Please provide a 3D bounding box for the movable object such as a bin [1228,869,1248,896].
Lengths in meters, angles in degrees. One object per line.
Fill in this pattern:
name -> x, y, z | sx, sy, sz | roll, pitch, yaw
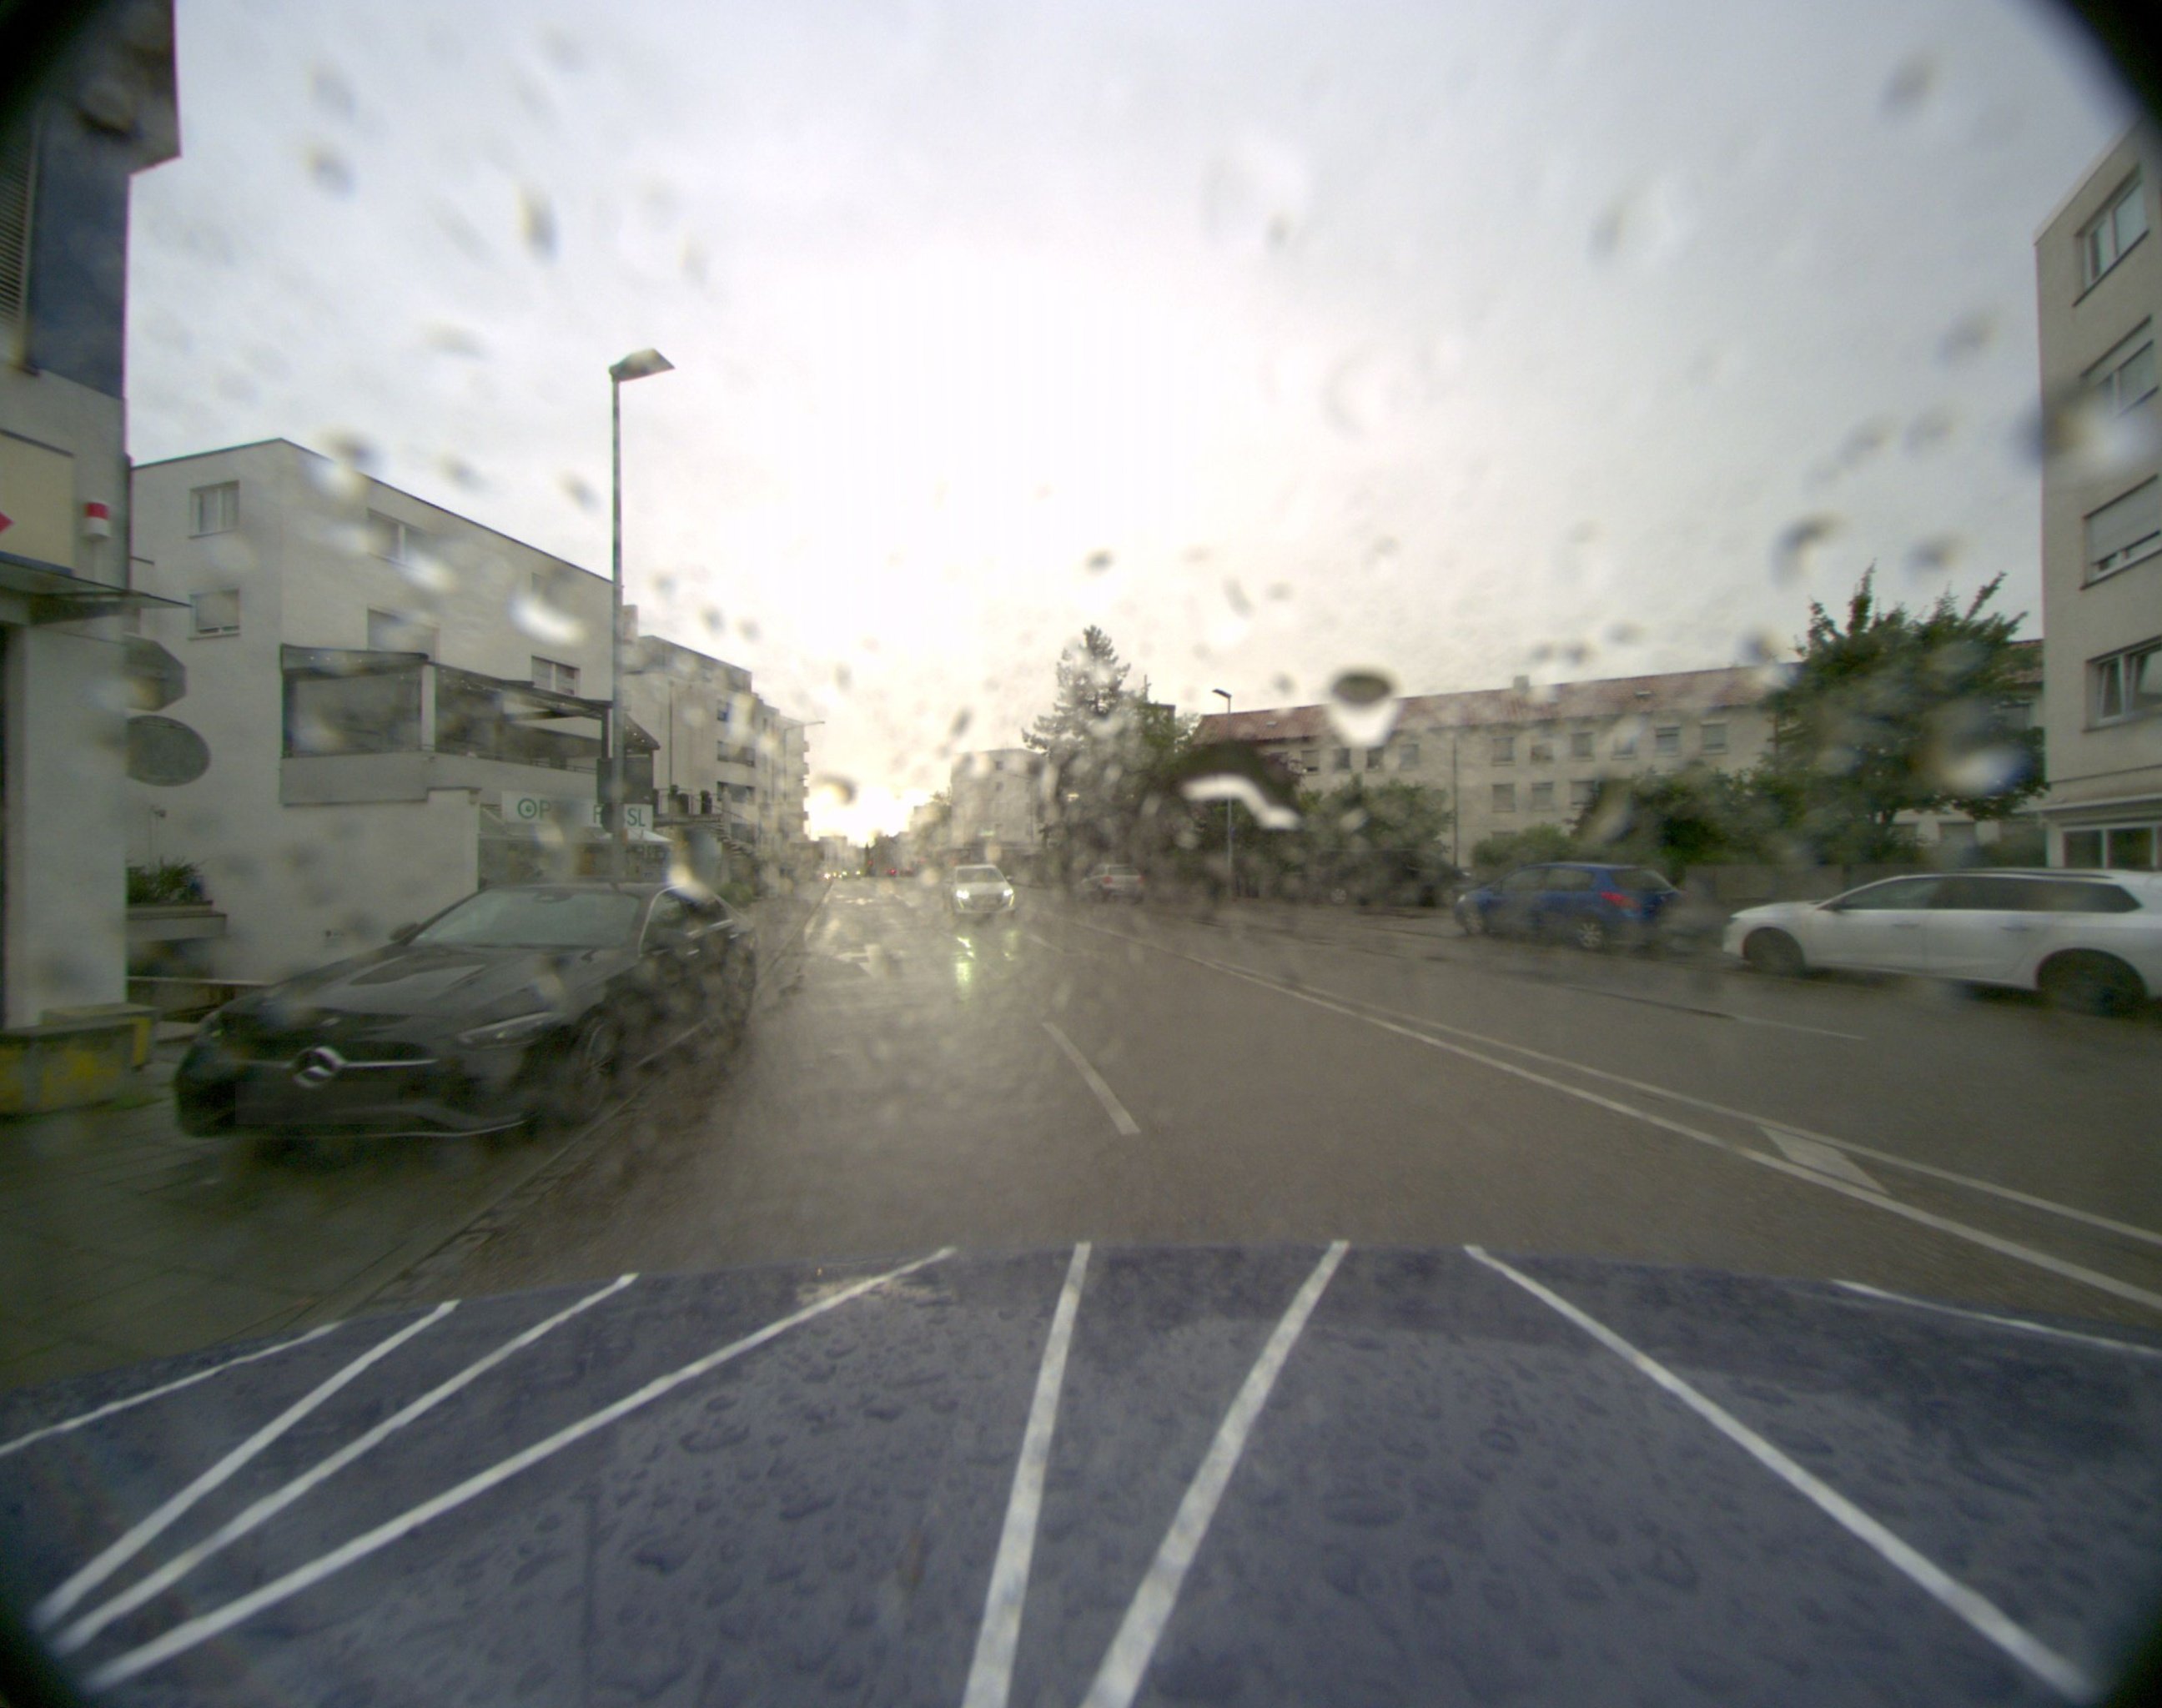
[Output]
movable object such as a bin -> 6.594, 1.174, 31.922 | 0.602, 1.111, 0.600 | 0, 0, -29

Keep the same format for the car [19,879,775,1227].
car -> -4.071, 0.985, 5.870 | 2.000, 1.524, 4.645 | 1, -1, -7

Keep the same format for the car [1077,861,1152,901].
car -> 1.231, 1.042, 29.703 | 1.832, 1.431, 3.836 | 1, -1, -15

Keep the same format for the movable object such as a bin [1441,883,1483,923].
movable object such as a bin -> 9.606, 1.237, 19.170 | 0.650, 0.960, 0.681 | 0, 0, -16

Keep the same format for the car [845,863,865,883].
car -> -23.958, 2.002, 80.622 | 2.001, 2.001, 3.996 | -1, -2, -16

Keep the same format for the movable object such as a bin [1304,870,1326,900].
movable object such as a bin -> 8.939, 1.164, 29.032 | 0.599, 1.111, 0.602 | 0, 0, 38

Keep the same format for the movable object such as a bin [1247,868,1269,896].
movable object such as a bin -> 7.182, 1.147, 30.836 | 0.602, 1.111, 0.600 | 0, 0, -29

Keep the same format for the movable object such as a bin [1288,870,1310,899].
movable object such as a bin -> 8.429, 1.180, 29.379 | 0.599, 1.111, 0.602 | 0, 0, 38

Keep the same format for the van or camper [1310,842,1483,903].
van or camper -> 10.765, 0.667, 26.016 | 5.204, 1.913, 2.004 | -2, -2, 30

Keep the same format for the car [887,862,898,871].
car -> -33.199, 2.260, 133.931 | 1.809, 1.547, 4.314 | -1, -1, -14

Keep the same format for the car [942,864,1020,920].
car -> -3.027, 1.060, 22.225 | 1.831, 1.431, 4.341 | -2, -1, -13

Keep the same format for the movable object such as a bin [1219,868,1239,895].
movable object such as a bin -> 6.330, 1.171, 32.494 | 0.602, 1.111, 0.600 | -1, 0, -18

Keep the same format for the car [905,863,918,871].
car -> -30.054, 2.333, 134.418 | 1.705, 1.400, 3.994 | 2, -2, -20

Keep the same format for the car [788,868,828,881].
car -> -34.268, 2.640, 95.469 | 4.264, 1.485, 1.875 | -2, -2, 10

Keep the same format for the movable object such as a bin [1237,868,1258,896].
movable object such as a bin -> 6.875, 1.158, 31.377 | 0.602, 1.111, 0.600 | 0, 0, -29

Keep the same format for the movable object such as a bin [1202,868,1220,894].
movable object such as a bin -> 5.747, 1.188, 33.618 | 0.602, 1.112, 0.600 | -1, 1, -19

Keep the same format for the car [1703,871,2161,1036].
car -> 10.514, 0.985, 9.056 | 1.700, 1.455, 4.678 | -1, 0, -15

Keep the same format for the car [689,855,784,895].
car -> -18.336, 1.087, 40.733 | 1.996, 2.001, 4.786 | -1, -1, 16

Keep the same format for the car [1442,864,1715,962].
car -> 9.143, 0.972, 14.475 | 1.658, 1.512, 4.318 | -1, 0, -15

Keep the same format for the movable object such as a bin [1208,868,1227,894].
movable object such as a bin -> 5.938, 1.177, 33.026 | 0.602, 1.112, 0.600 | -1, 0, -19

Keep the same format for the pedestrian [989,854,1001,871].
pedestrian -> -8.409, 0.818, 74.478 | 0.873, 1.597, 1.101 | -1, 1, -25

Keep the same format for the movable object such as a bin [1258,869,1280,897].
movable object such as a bin -> 7.470, 1.151, 30.270 | 0.602, 1.111, 0.600 | 0, 0, -29

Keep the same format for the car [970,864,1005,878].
car -> -10.915, 2.006, 88.935 | 1.995, 1.536, 4.480 | 1, -1, 24
